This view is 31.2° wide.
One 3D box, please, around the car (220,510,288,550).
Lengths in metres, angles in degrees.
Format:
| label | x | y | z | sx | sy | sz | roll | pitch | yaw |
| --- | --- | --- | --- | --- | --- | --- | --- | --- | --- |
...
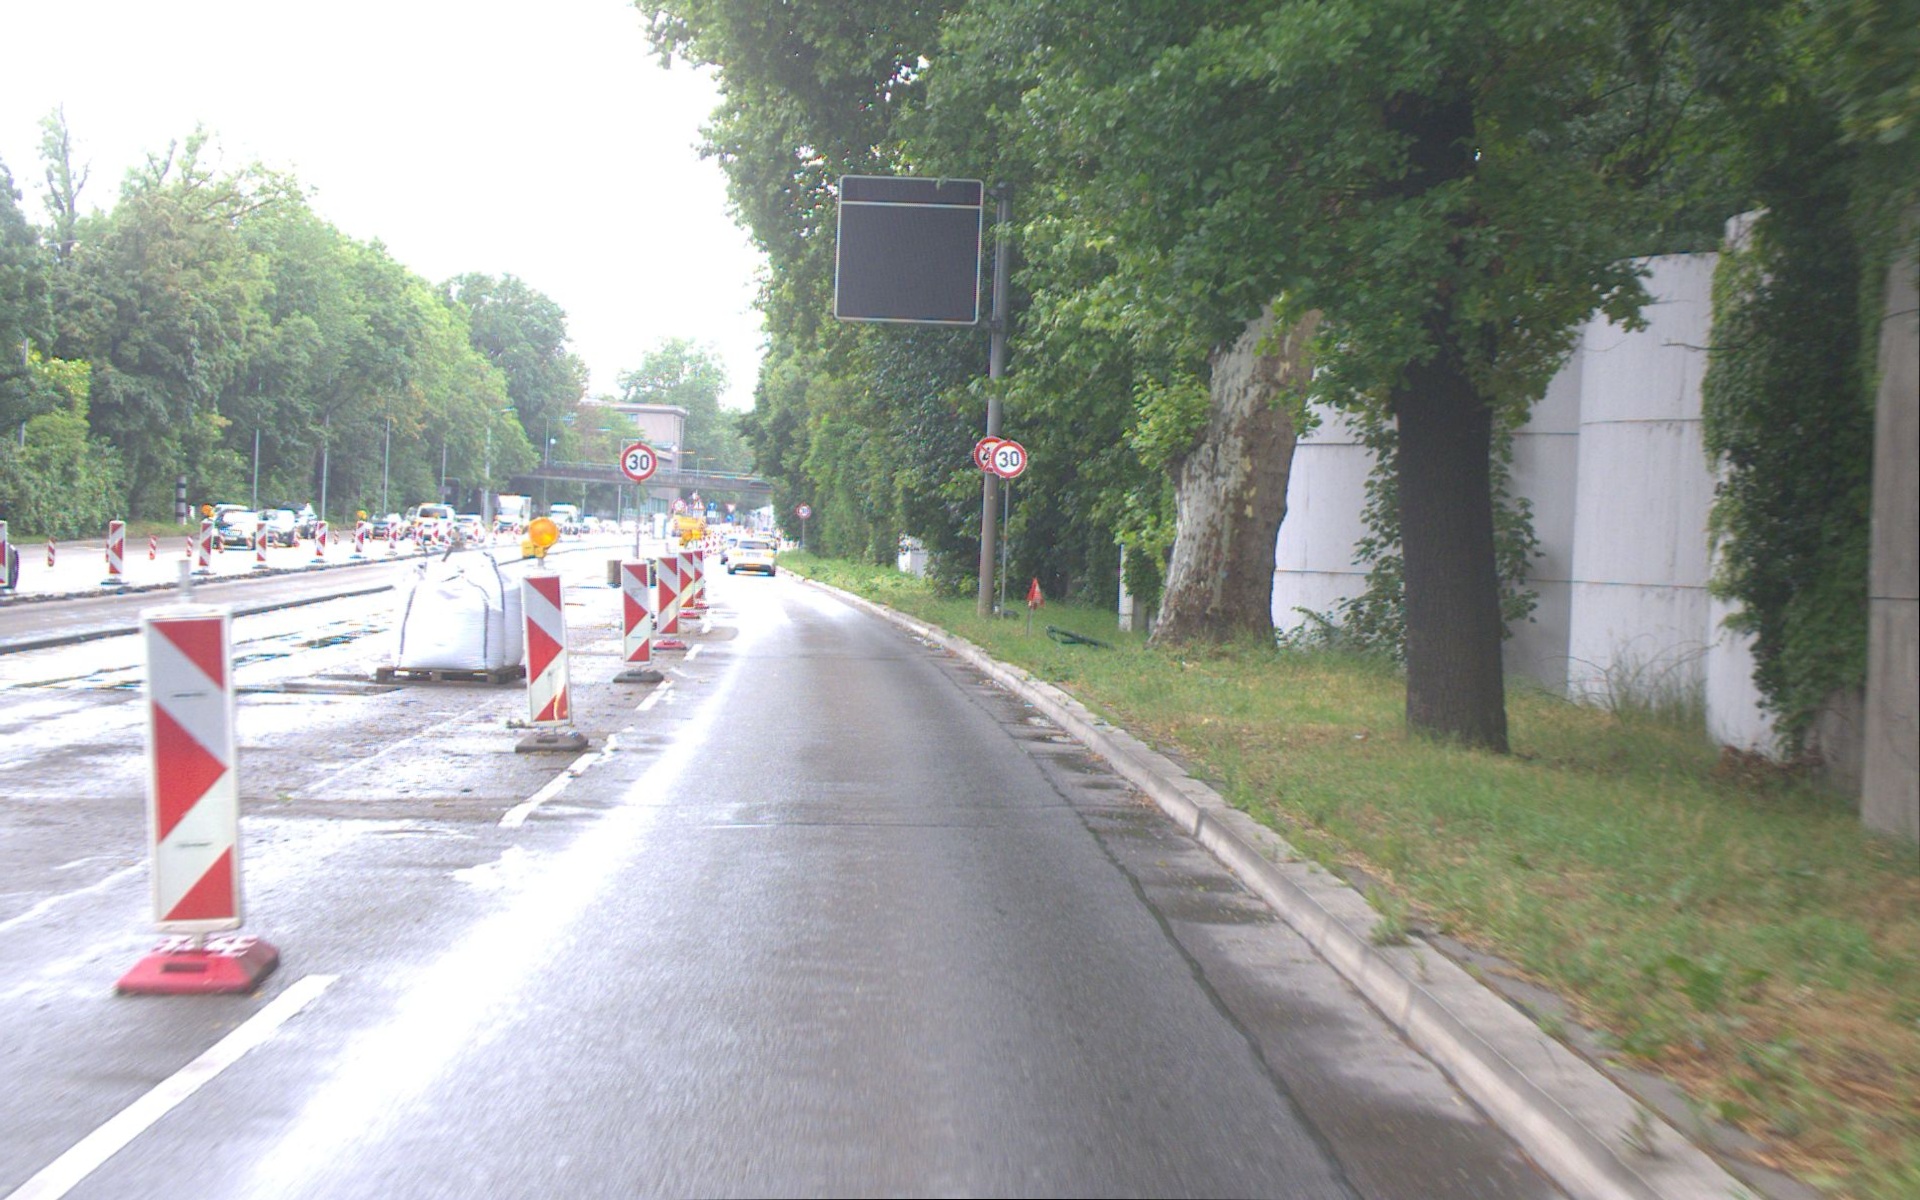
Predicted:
| label | x | y | z | sx | sy | sz | roll | pitch | yaw |
| --- | --- | --- | --- | --- | --- | --- | --- | --- | --- |
| car | -25.147 | -2.505 | 122.543 | 1.817 | 1.351 | 4.391 | 1 | 1 | -4 |

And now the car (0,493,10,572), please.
| label | x | y | z | sx | sy | sz | roll | pitch | yaw |
| --- | --- | --- | --- | --- | --- | --- | --- | --- | --- |
| car | -17.690 | -1.188 | 59.461 | 1.607 | 1.399 | 4.042 | 3 | 1 | -4 |

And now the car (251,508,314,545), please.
| label | x | y | z | sx | sy | sz | roll | pitch | yaw |
| --- | --- | --- | --- | --- | --- | --- | --- | --- | --- |
| car | -25.583 | -2.791 | 129.907 | 1.817 | 1.351 | 4.205 | 1 | 1 | -4 |

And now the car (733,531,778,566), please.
| label | x | y | z | sx | sy | sz | roll | pitch | yaw |
| --- | --- | --- | --- | --- | --- | --- | --- | --- | --- |
| car | -7.947 | -1.991 | 133.351 | 1.697 | 1.331 | 3.491 | 0 | 1 | -4 |
